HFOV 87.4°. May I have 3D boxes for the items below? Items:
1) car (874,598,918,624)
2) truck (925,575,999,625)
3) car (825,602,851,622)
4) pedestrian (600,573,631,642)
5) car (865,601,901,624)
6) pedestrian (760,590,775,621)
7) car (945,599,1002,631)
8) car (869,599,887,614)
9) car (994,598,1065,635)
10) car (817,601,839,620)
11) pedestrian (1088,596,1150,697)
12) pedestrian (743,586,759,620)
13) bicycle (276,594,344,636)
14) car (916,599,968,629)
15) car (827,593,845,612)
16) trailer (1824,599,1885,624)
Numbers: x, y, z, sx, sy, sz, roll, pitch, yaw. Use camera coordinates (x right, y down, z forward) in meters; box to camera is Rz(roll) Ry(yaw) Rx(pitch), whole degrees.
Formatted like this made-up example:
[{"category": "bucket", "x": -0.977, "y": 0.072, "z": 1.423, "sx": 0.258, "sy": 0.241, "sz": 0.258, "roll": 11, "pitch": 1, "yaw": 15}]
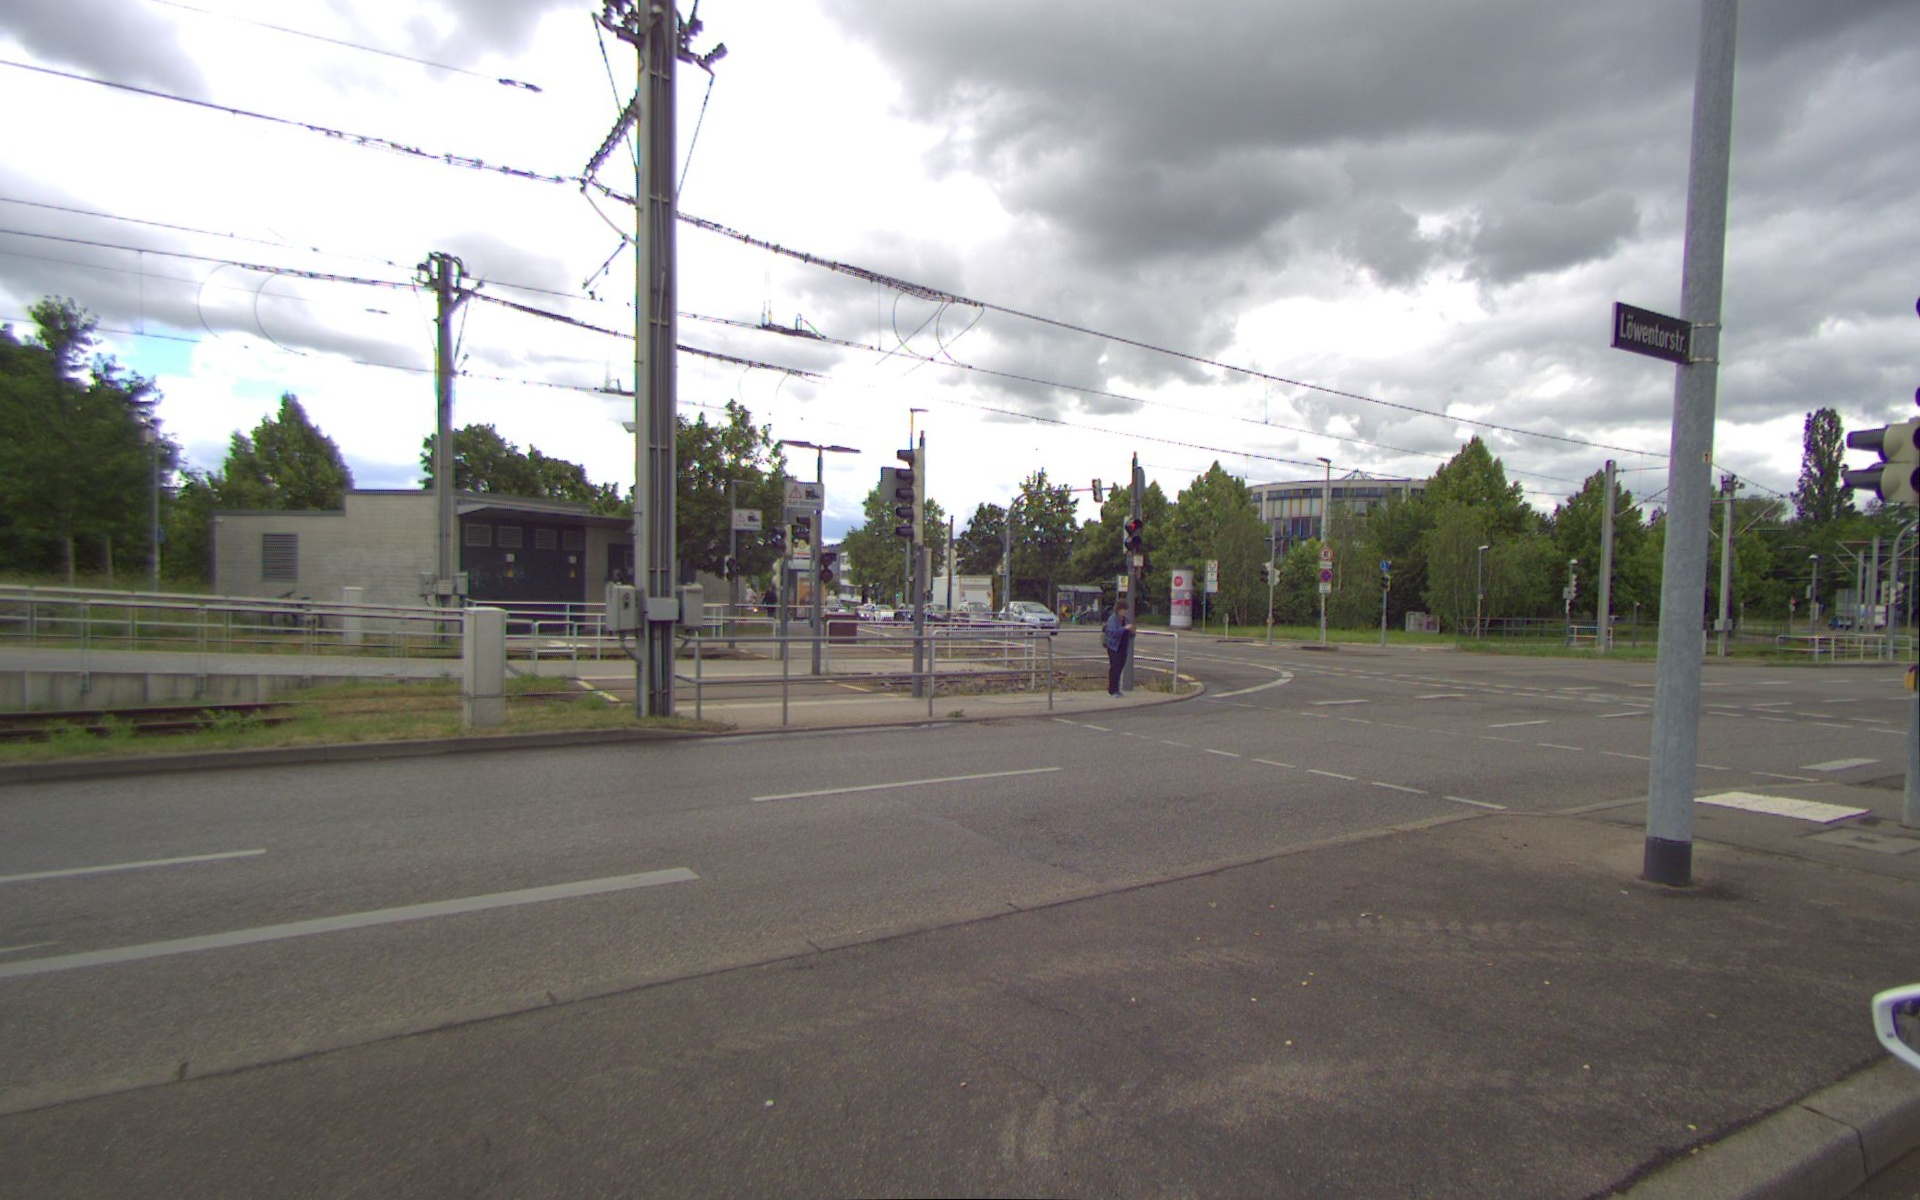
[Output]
[{"category": "car", "x": -4.189, "y": 0.697, "z": 65.103, "sx": 1.776, "sy": 1.617, "sz": 3.982, "roll": 2, "pitch": 0, "yaw": -20}, {"category": "truck", "x": 0.010, "y": -0.024, "z": 77.415, "sx": 2.969, "sy": 3.580, "sz": 9.246, "roll": 1, "pitch": 0, "yaw": -18}, {"category": "car", "x": -11.329, "y": 1.093, "z": 93.109, "sx": 1.869, "sy": 1.805, "sz": 3.988, "roll": 1, "pitch": 0, "yaw": -14}, {"category": "pedestrian", "x": -8.934, "y": 0.194, "z": 26.038, "sx": 0.700, "sy": 1.751, "sz": 0.674, "roll": 2, "pitch": 0, "yaw": -19}, {"category": "car", "x": -5.768, "y": 0.923, "z": 74.901, "sx": 1.775, "sy": 1.617, "sz": 3.985, "roll": 2, "pitch": 0, "yaw": -17}, {"category": "pedestrian", "x": -8.751, "y": 0.265, "z": 45.657, "sx": 0.591, "sy": 1.377, "sz": 0.615, "roll": 2, "pitch": 0, "yaw": -10}, {"category": "car", "x": 0.664, "y": 0.793, "z": 53.868, "sx": 1.776, "sy": 1.617, "sz": 3.982, "roll": 2, "pitch": 0, "yaw": -20}, {"category": "car", "x": -9.371, "y": 0.768, "z": 115.217, "sx": 2.008, "sy": 1.617, "sz": 3.997, "roll": 2, "pitch": 0, "yaw": -4}, {"category": "car", "x": 3.194, "y": 0.732, "z": 46.901, "sx": 1.848, "sy": 1.617, "sz": 3.982, "roll": 2, "pitch": 0, "yaw": -20}, {"category": "car", "x": -13.789, "y": 1.074, "z": 104.560, "sx": 1.869, "sy": 1.805, "sz": 3.990, "roll": 1, "pitch": 0, "yaw": -13}, {"category": "pedestrian", "x": 2.535, "y": 0.732, "z": 16.042, "sx": 0.712, "sy": 1.557, "sz": 0.630, "roll": 2, "pitch": 0, "yaw": -33}, {"category": "pedestrian", "x": -9.923, "y": 0.140, "z": 47.735, "sx": 0.633, "sy": 1.557, "sz": 0.521, "roll": 2, "pitch": 0, "yaw": -2}, {"category": "bicycle", "x": -17.339, "y": 0.396, "z": 26.788, "sx": 1.778, "sy": 1.045, "sz": 0.536, "roll": 2, "pitch": 0, "yaw": 21}, {"category": "car", "x": -1.067, "y": 0.759, "z": 58.041, "sx": 1.776, "sy": 1.617, "sz": 3.982, "roll": 2, "pitch": 0, "yaw": -20}, {"category": "car", "x": -14.620, "y": 0.285, "z": 118.111, "sx": 1.964, "sy": 2.218, "sz": 5.800, "roll": 1, "pitch": 0, "yaw": -9}, {"category": "trailer", "x": 115.299, "y": 1.447, "z": 129.576, "sx": 2.700, "sy": 3.052, "sz": 6.090, "roll": 2, "pitch": 0, "yaw": 6}]
